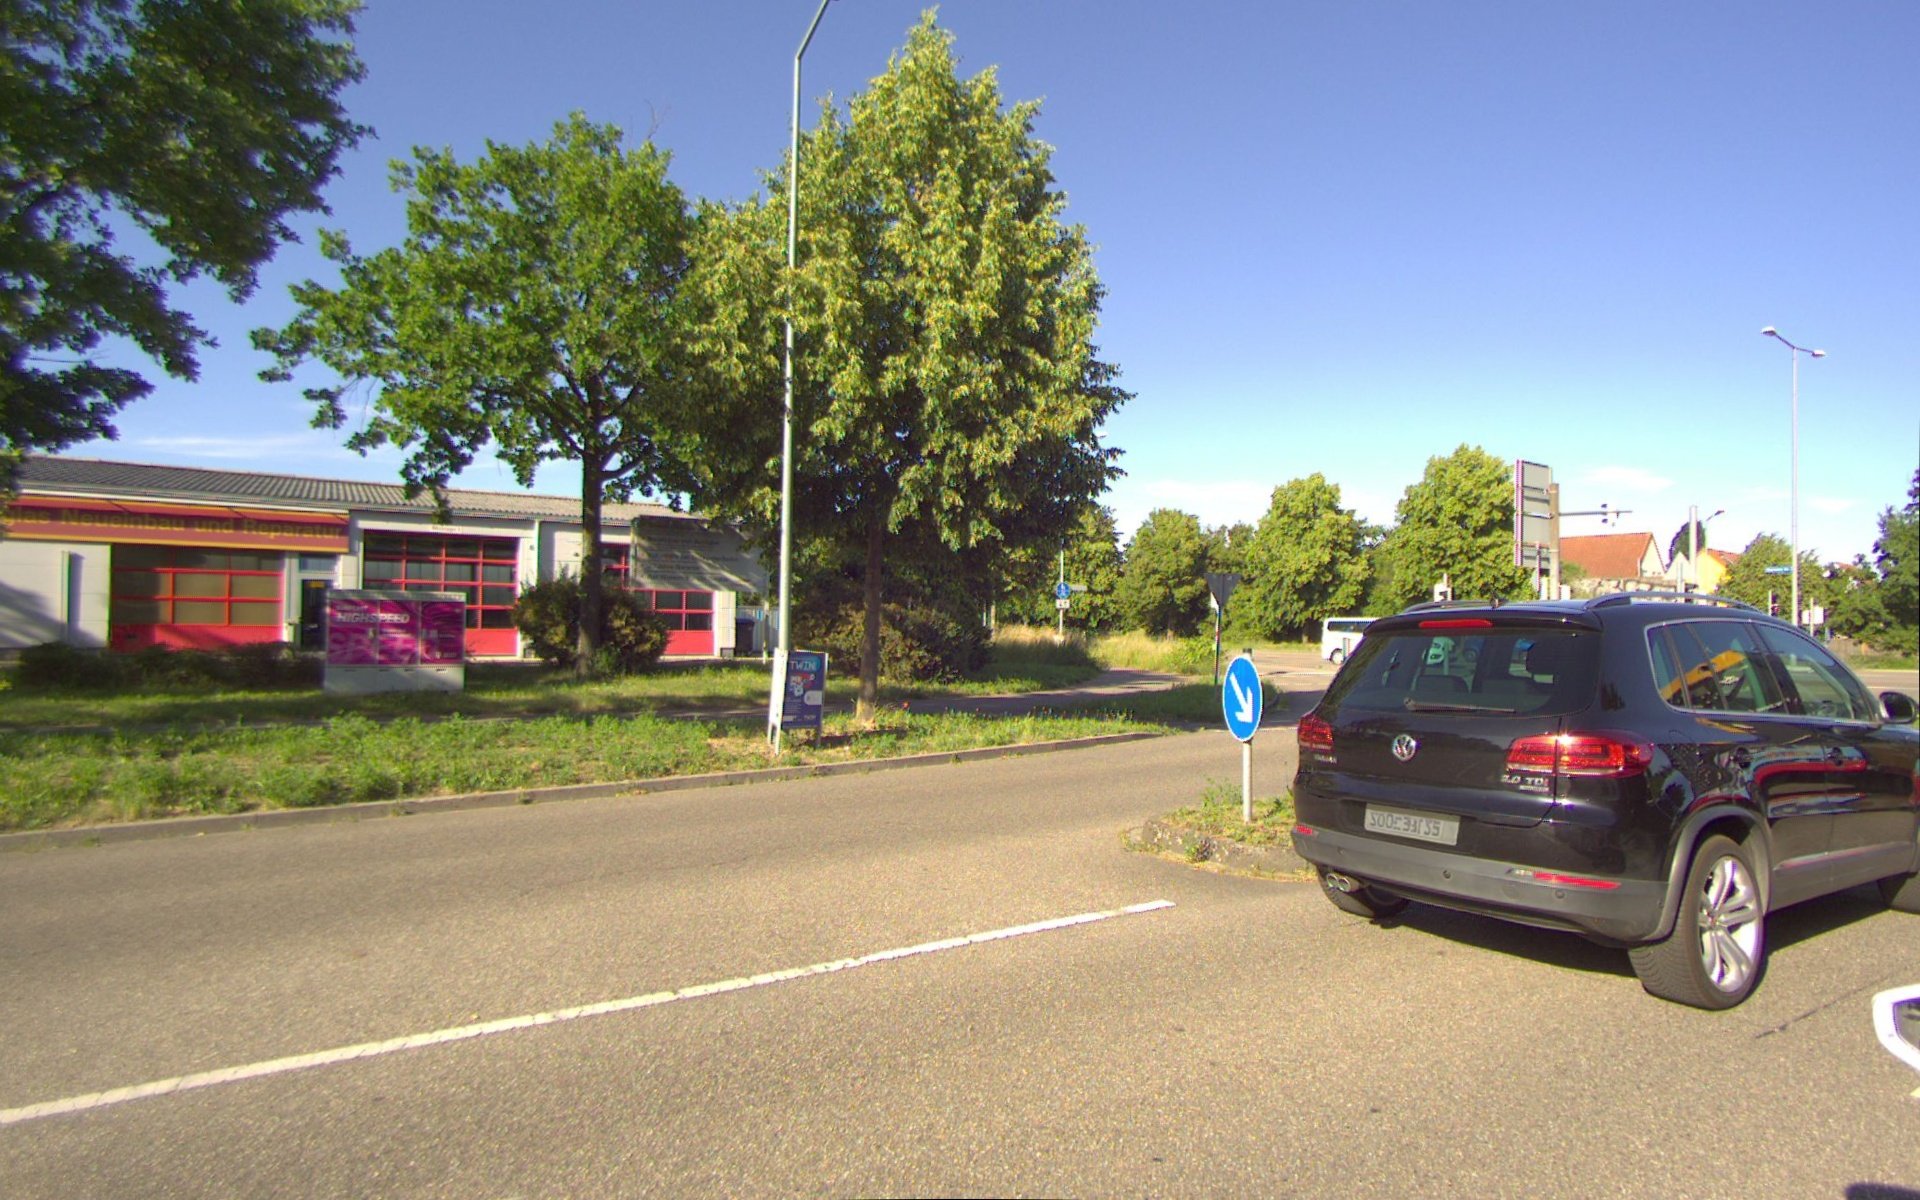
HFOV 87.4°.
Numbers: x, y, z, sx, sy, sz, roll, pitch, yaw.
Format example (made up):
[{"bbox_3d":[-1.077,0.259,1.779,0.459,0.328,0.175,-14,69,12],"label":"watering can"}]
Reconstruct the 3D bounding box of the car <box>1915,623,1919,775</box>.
[{"bbox_3d":[11.249,1.030,9.825,3.954,1.610,1.753,1,-3,-31],"label":"car"}]

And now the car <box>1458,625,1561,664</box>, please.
[{"bbox_3d":[23.754,1.900,43.496,1.733,1.581,3.559,2,-2,-35],"label":"car"}]

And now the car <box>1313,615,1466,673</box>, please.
[{"bbox_3d":[17.239,1.717,40.601,2.160,2.146,5.350,2,-1,-35],"label":"car"}]

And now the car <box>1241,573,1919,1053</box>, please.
[{"bbox_3d":[3.554,0.820,5.311,3.954,1.675,1.763,1,-3,-31],"label":"car"}]
